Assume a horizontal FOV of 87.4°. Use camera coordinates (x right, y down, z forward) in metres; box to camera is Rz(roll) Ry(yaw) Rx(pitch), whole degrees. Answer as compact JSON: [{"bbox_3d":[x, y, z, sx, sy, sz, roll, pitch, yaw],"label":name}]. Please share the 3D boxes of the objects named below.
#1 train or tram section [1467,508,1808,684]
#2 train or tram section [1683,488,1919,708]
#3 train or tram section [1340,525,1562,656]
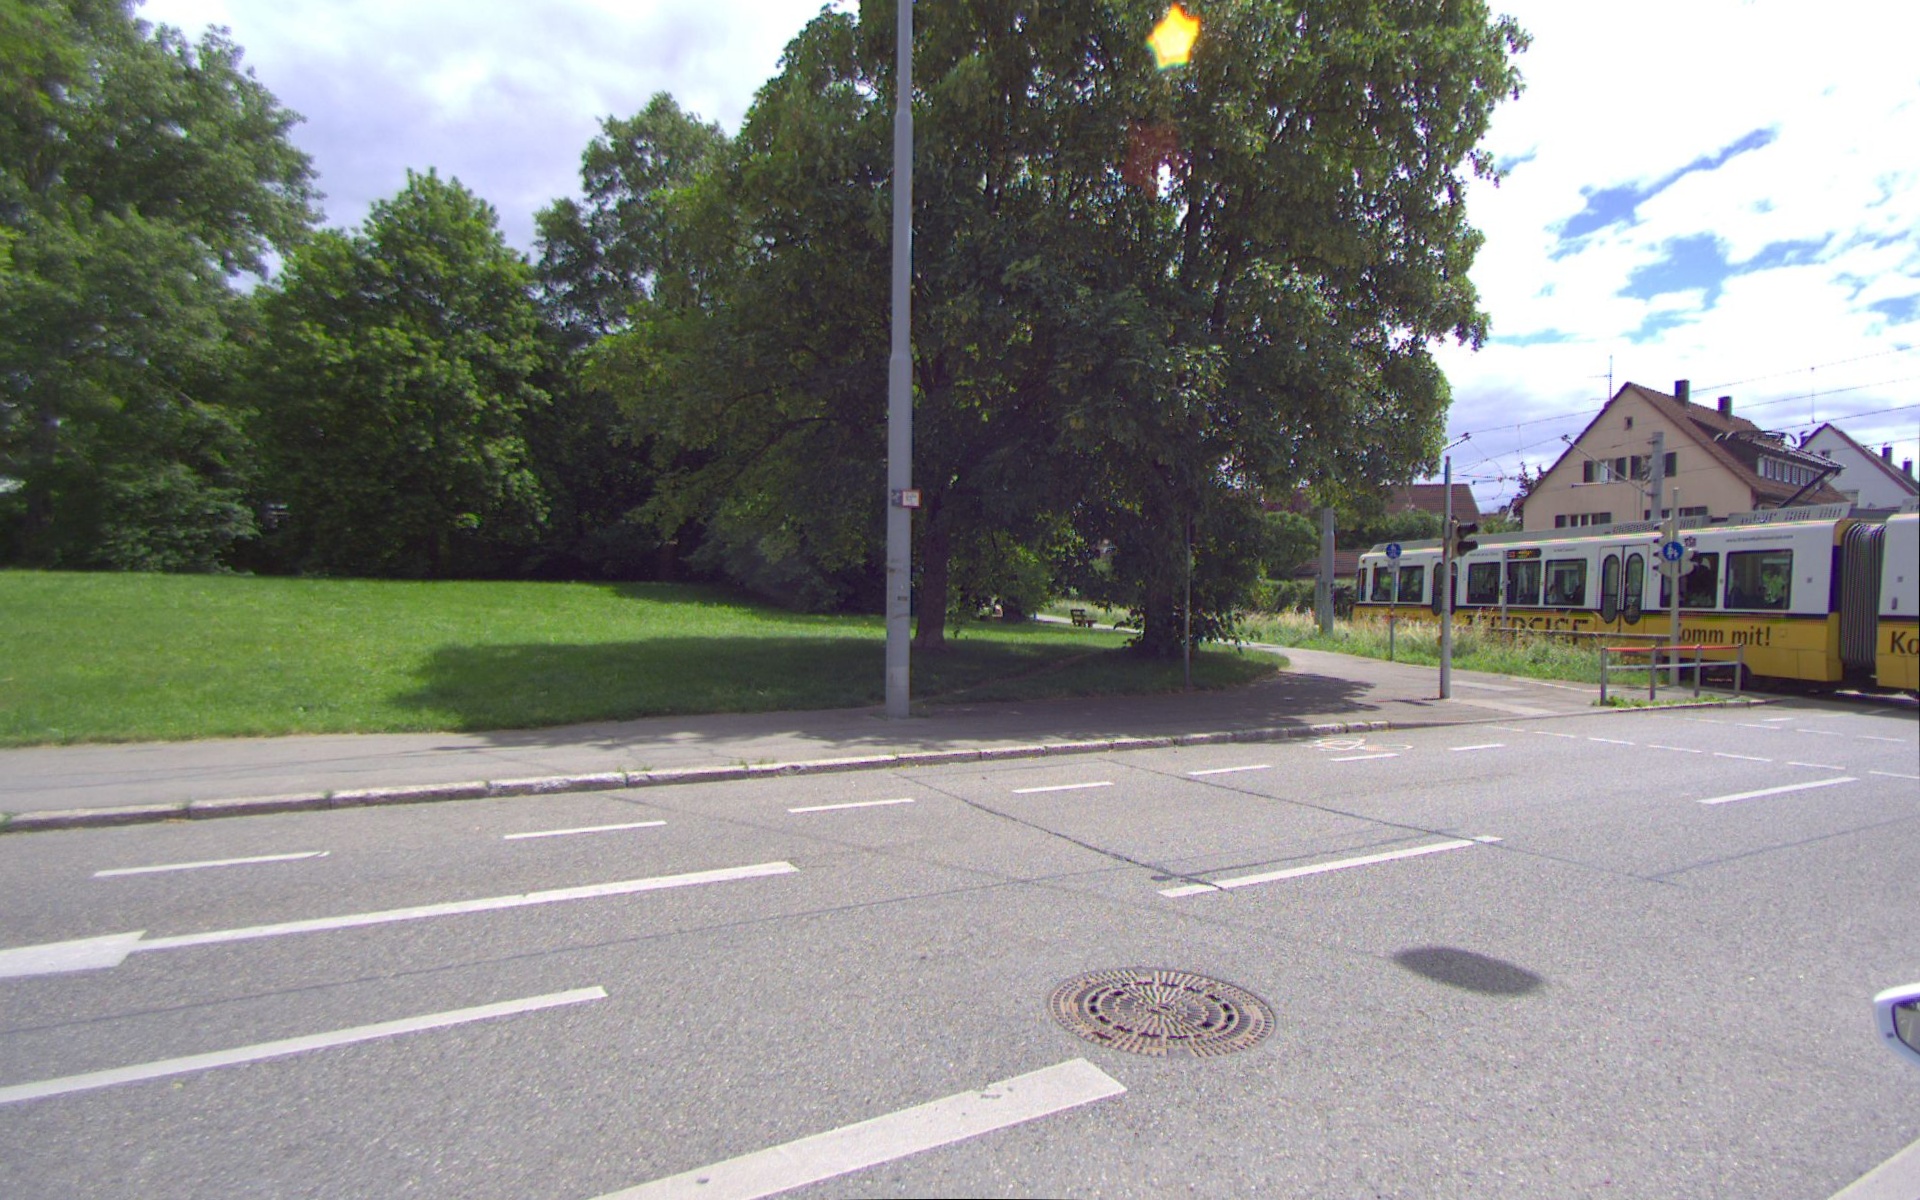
[{"bbox_3d":[16.808,-0.155,25.845,2.816,3.772,7.707,2,1,-7],"label":"train or tram section"},{"bbox_3d":[17.684,-0.015,18.240,2.816,3.772,7.707,2,1,-7],"label":"train or tram section"},{"bbox_3d":[15.954,-0.347,33.489,2.816,3.772,7.707,2,1,-7],"label":"train or tram section"}]
